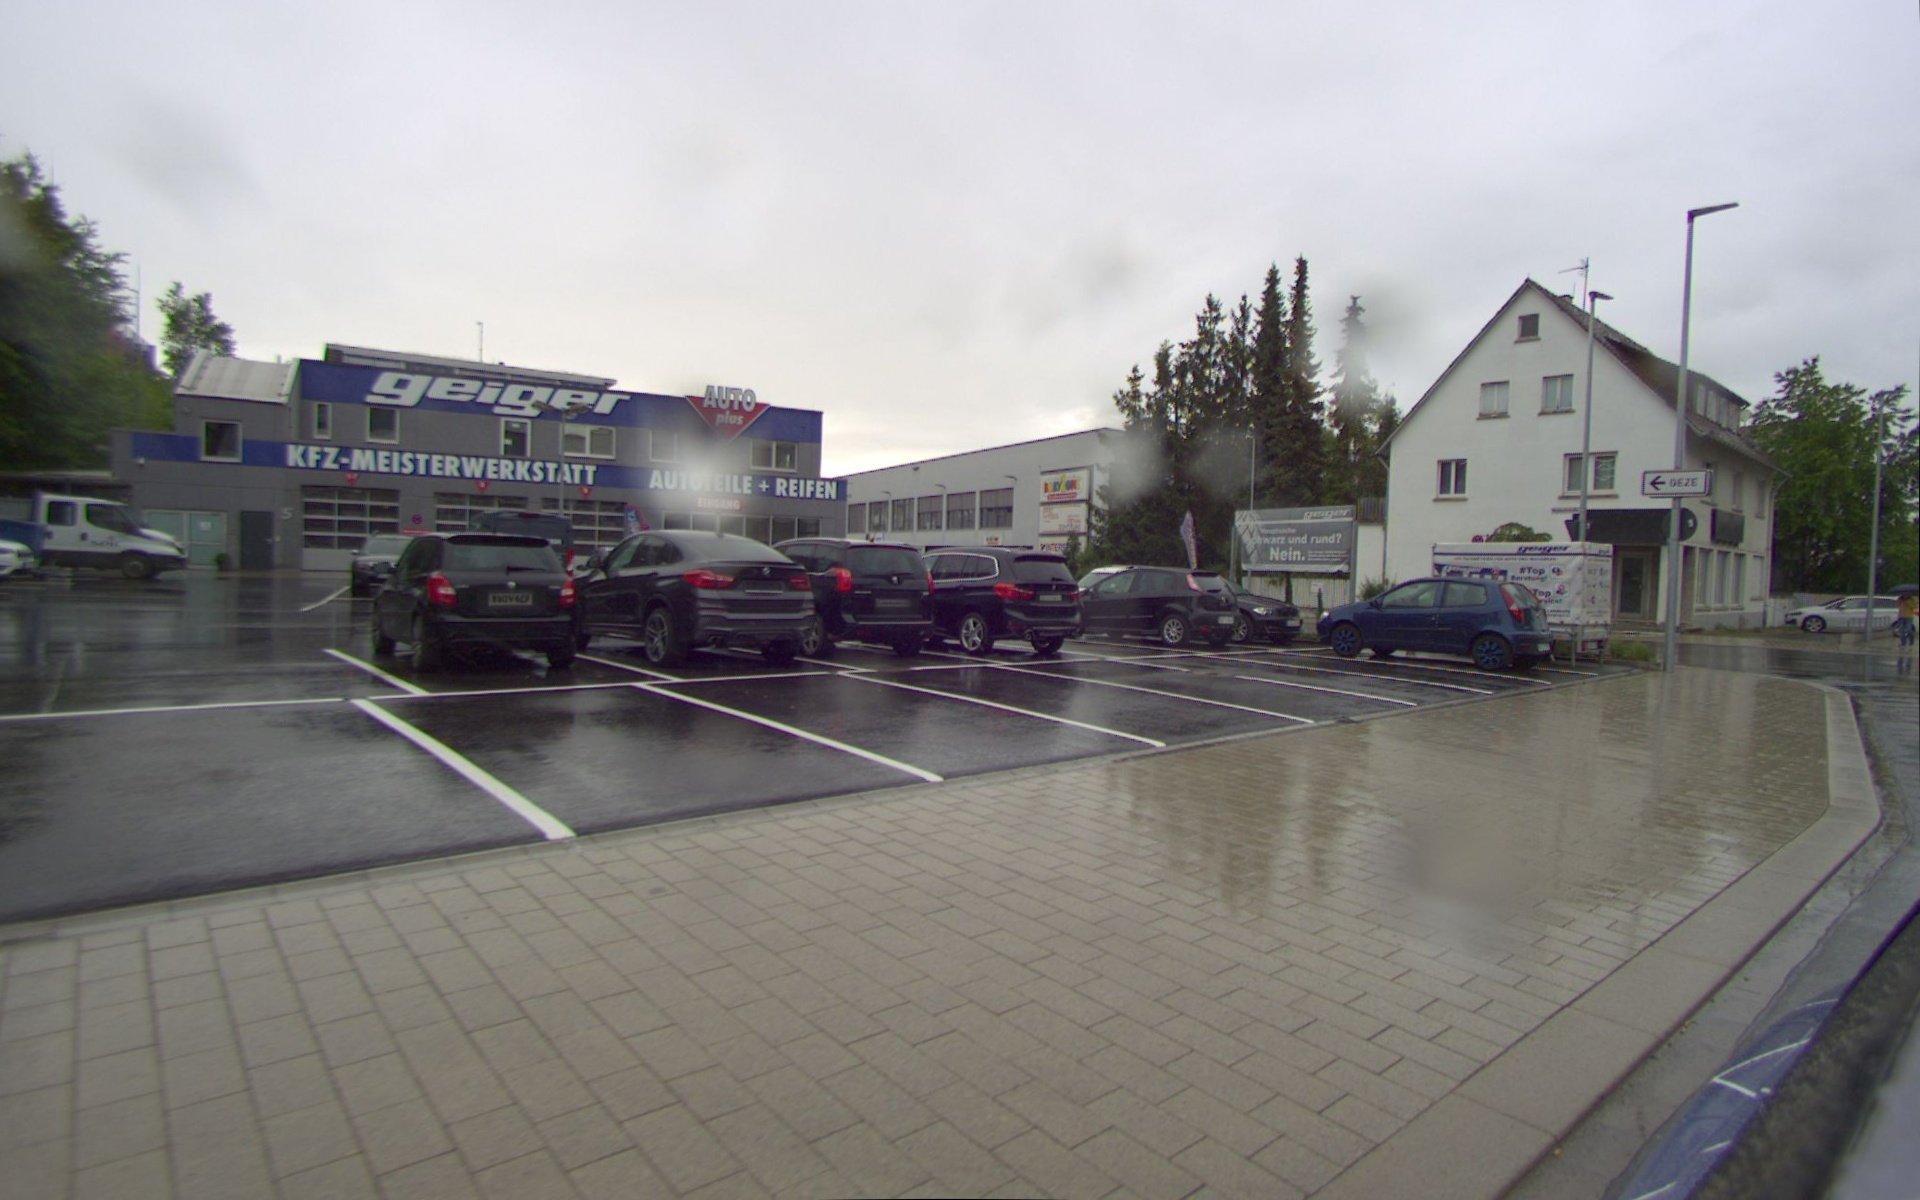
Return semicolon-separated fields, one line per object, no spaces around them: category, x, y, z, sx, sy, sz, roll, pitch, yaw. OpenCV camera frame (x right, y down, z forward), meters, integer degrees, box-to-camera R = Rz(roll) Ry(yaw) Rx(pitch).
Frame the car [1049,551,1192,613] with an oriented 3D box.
car;5.271;-0.573;33.104;4.401;1.851;1.896;1;3;-32

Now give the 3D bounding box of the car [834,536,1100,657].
car;-0.020;-0.153;16.404;1.813;1.672;4.362;0;3;-42

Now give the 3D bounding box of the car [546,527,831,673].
car;-3.698;-0.115;13.242;1.808;1.578;4.363;0;3;-42

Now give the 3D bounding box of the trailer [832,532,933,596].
trailer;-3.758;-1.629;47.724;2.875;2.770;5.899;-2;0;-24

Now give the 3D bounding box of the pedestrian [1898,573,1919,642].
pedestrian;29.183;0.244;30.682;1.175;2.037;0.860;0;4;-43

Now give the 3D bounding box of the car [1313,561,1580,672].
car;8.208;0.193;17.333;1.621;1.547;3.735;-1;4;-40

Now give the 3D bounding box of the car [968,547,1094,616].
car;2.073;-0.622;30.990;1.854;1.850;4.501;1;3;-25

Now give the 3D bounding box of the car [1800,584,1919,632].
car;36.060;0.322;40.022;4.119;1.599;1.974;5;3;36

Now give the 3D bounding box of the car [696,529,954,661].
car;-2.159;-0.171;15.119;1.754;1.678;4.366;1;3;-39

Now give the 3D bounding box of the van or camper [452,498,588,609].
van or camper;-10.653;-1.148;24.267;2.179;2.354;4.977;1;3;-33

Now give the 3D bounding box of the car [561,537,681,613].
car;-8.438;-0.666;24.926;1.828;1.602;4.375;1;3;-31

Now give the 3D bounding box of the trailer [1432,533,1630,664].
trailer;10.377;-0.080;18.498;1.520;2.198;2.709;1;2;-38

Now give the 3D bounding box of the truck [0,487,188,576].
truck;-24.853;-1.858;28.102;5.203;2.298;2.001;-2;0;-31

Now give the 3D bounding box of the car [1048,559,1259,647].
car;3.688;-0.006;19.738;1.702;1.467;3.731;0;3;-43

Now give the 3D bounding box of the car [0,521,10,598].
car;-20.344;-0.759;18.542;3.920;1.505;1.900;-2;0;-30

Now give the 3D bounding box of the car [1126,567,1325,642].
car;5.514;0.046;21.351;1.664;1.331;3.731;0;3;-43

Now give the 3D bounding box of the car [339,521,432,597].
car;-15.470;-1.048;27.432;1.905;1.839;4.005;-2;0;-26

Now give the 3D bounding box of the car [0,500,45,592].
car;-21.583;-1.064;20.682;3.920;1.837;1.900;-2;0;-30

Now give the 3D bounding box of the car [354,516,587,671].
car;-5.848;-0.138;11.874;1.613;1.519;3.695;1;2;-40
